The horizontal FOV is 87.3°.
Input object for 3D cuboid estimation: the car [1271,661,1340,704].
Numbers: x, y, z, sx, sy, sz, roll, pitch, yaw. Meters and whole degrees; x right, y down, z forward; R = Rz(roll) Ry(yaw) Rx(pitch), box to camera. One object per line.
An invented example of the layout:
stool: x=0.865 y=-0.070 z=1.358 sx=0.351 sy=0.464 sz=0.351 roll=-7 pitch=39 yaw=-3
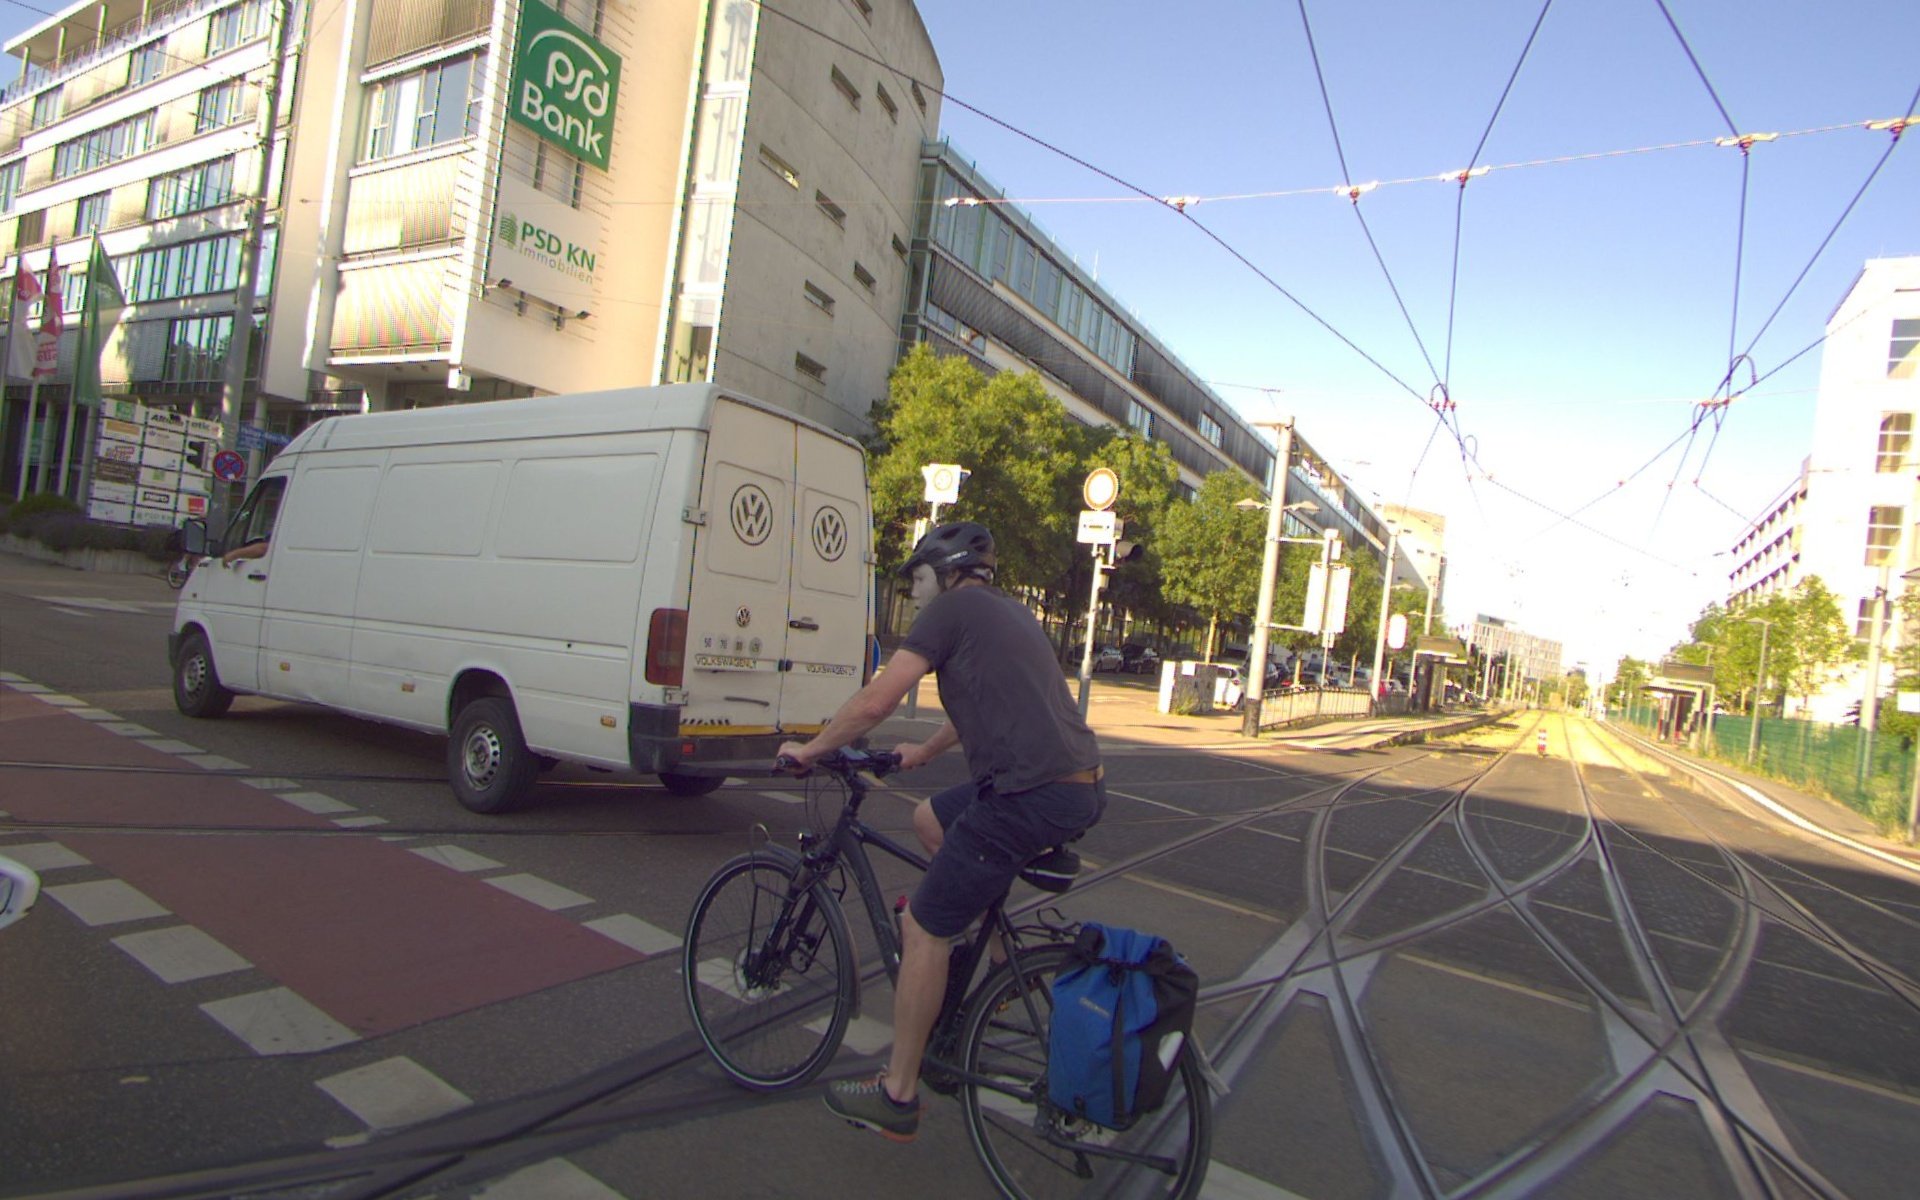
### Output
car: x=15.548 y=3.737 z=45.159 sx=1.967 sy=1.620 sz=3.994 roll=7 pitch=-1 yaw=31

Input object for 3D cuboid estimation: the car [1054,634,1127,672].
car: x=6.719 y=2.749 z=51.473 sx=1.954 sy=1.512 sz=4.395 roll=7 pitch=-1 yaw=31

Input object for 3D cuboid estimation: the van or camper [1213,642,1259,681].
van or camper: x=20.456 y=4.559 z=74.423 sx=1.954 sy=2.533 sz=4.395 roll=7 pitch=-1 yaw=31

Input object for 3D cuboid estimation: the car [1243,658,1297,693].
car: x=18.460 y=4.520 z=59.783 sx=1.954 sy=1.716 sz=3.994 roll=9 pitch=0 yaw=31

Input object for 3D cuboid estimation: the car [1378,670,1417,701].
car: x=31.650 y=6.190 z=72.719 sx=1.967 sy=1.945 sz=3.994 roll=7 pitch=-1 yaw=31

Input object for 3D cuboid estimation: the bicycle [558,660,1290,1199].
bicycle: x=-0.218 y=0.948 z=2.811 sx=1.936 sy=1.296 sz=0.650 roll=7 pitch=0 yaw=37

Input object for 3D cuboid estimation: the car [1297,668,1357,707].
car: x=18.468 y=4.393 z=50.491 sx=1.967 sy=1.620 sz=3.994 roll=7 pitch=-1 yaw=31

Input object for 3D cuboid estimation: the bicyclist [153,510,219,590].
bicyclist: x=-17.061 y=-1.094 z=22.163 sx=1.070 sy=1.624 sz=0.722 roll=7 pitch=2 yaw=31

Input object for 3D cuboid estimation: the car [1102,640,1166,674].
car: x=9.828 y=3.206 z=56.579 sx=1.954 sy=1.512 sz=4.395 roll=7 pitch=-1 yaw=31

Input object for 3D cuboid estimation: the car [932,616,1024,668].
car: x=0.797 y=1.769 z=41.620 sx=1.954 sy=1.716 sz=3.994 roll=7 pitch=-1 yaw=31

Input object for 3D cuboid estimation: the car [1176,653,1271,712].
car: x=9.054 y=2.831 z=34.326 sx=1.967 sy=1.631 sz=3.994 roll=7 pitch=-1 yaw=31

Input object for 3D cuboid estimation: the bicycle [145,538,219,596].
bicycle: x=-17.205 y=-0.731 z=22.240 sx=1.722 sy=1.113 sz=0.696 roll=7 pitch=3 yaw=32

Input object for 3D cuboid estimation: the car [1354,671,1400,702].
car: x=26.095 y=5.414 z=62.860 sx=1.967 sy=1.620 sz=3.994 roll=7 pitch=-1 yaw=31

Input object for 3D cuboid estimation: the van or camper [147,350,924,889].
van or camper: x=-3.524 y=-0.101 z=7.599 sx=6.202 sy=2.747 sz=1.972 roll=7 pitch=-2 yaw=33

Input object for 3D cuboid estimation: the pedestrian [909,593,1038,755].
pedestrian: x=0.169 y=0.917 z=12.680 sx=1.197 sy=1.845 sz=0.777 roll=7 pitch=0 yaw=37

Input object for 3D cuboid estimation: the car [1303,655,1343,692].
car: x=31.276 y=6.363 z=86.654 sx=2.021 sy=2.703 sz=5.014 roll=6 pitch=-3 yaw=32

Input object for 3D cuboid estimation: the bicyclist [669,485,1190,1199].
bicyclist: x=-0.099 y=0.563 z=2.739 sx=1.072 sy=1.622 sz=0.650 roll=7 pitch=0 yaw=37
